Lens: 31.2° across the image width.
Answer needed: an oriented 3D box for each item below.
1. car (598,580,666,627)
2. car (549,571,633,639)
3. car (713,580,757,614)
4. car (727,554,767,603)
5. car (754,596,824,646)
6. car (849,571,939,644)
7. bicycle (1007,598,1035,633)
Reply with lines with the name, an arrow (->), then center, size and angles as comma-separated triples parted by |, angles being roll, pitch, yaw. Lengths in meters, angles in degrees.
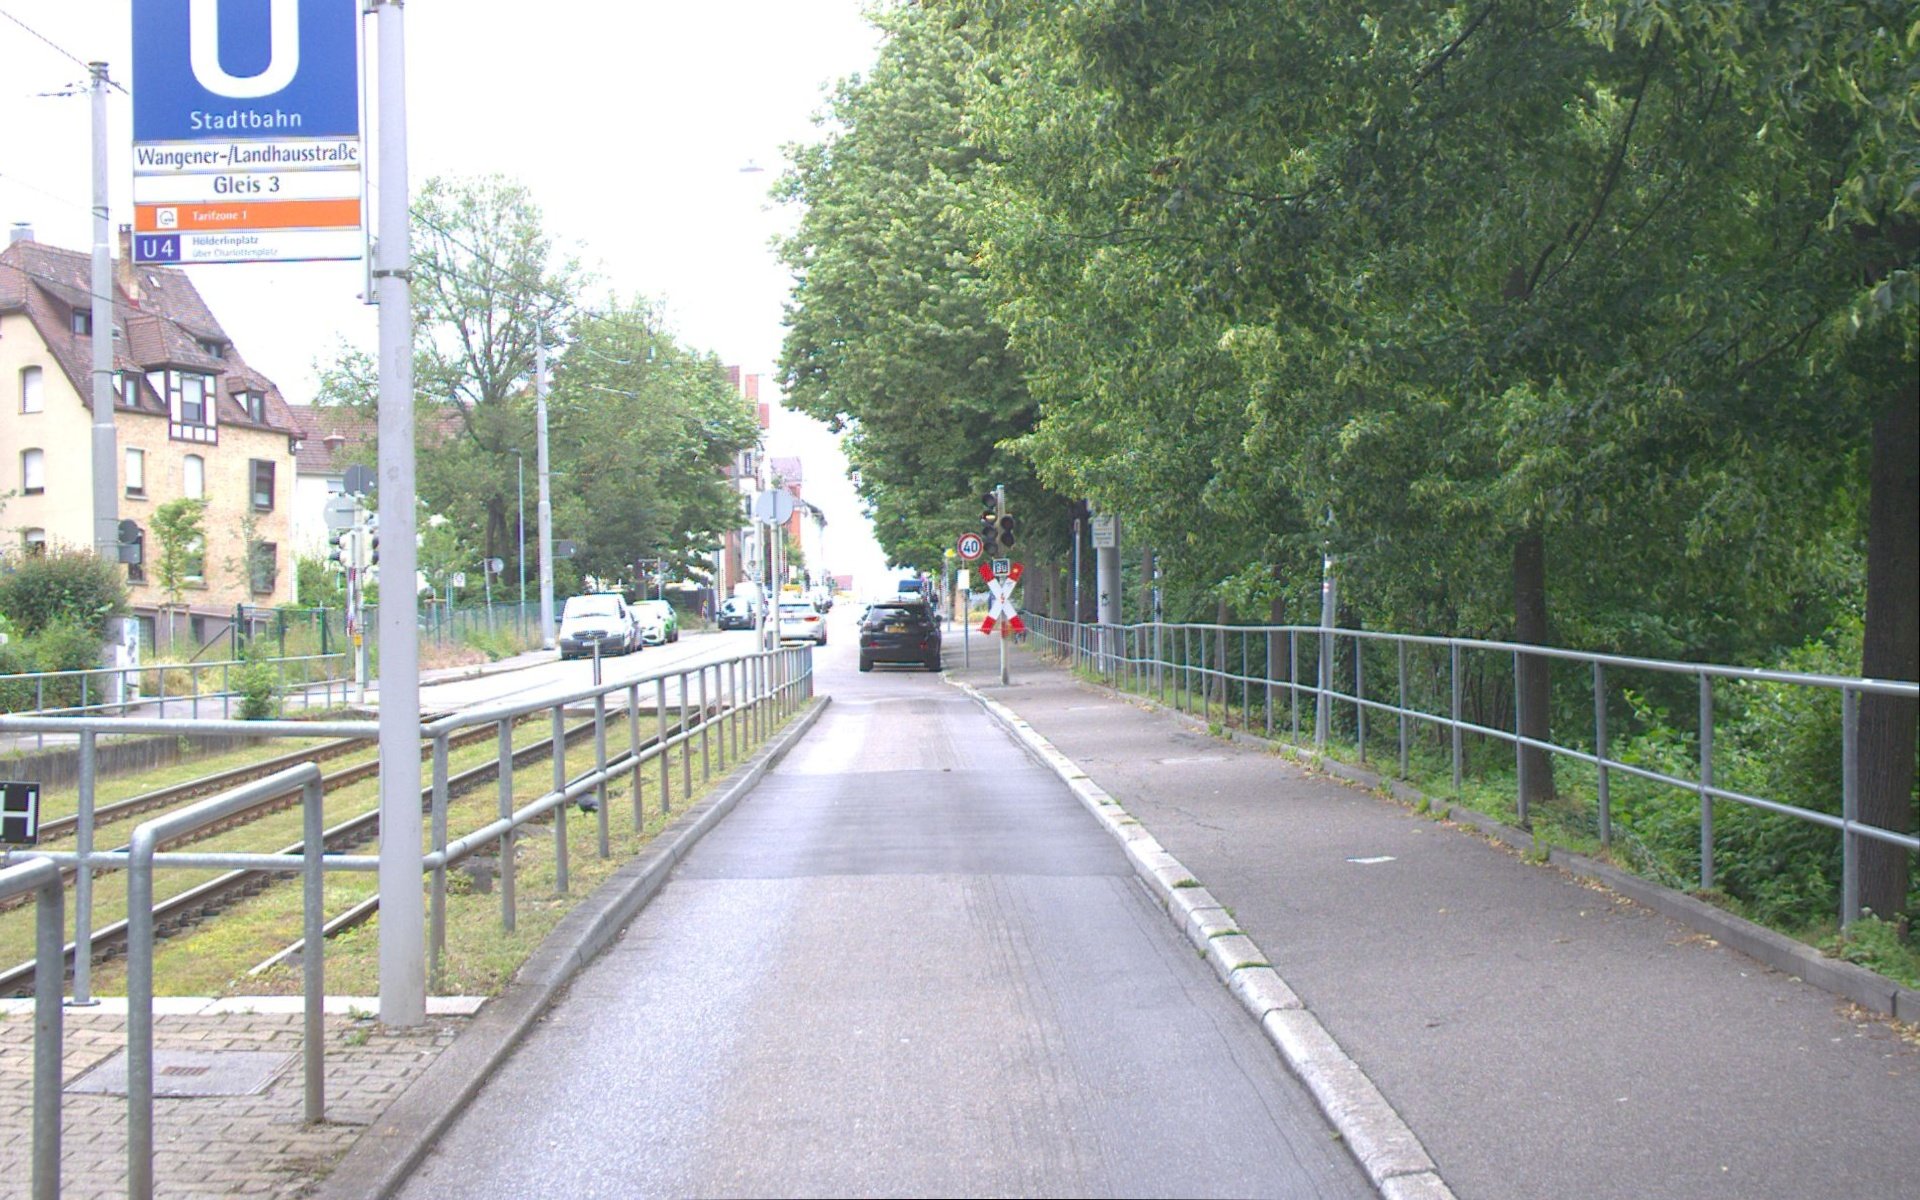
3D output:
car -> -11.212, 0.106, 117.841 | 1.885, 1.521, 4.663 | -2, 0, -1
car -> -11.092, 0.158, 103.648 | 2.035, 1.875, 4.885 | -4, 0, -2
car -> -12.059, -0.139, 184.356 | 1.993, 1.802, 4.000 | 0, 0, 1
car -> -12.310, -1.232, 198.853 | 2.230, 2.755, 5.800 | 0, 0, -3
car -> -5.260, 0.652, 106.302 | 1.993, 1.493, 4.312 | 1, 0, -1
car -> -1.479, 0.141, 78.156 | 1.904, 1.609, 4.600 | 0, 1, 1
bicycle -> 1.723, 0.441, 96.784 | 0.427, 0.972, 1.795 | 0, 0, -10
